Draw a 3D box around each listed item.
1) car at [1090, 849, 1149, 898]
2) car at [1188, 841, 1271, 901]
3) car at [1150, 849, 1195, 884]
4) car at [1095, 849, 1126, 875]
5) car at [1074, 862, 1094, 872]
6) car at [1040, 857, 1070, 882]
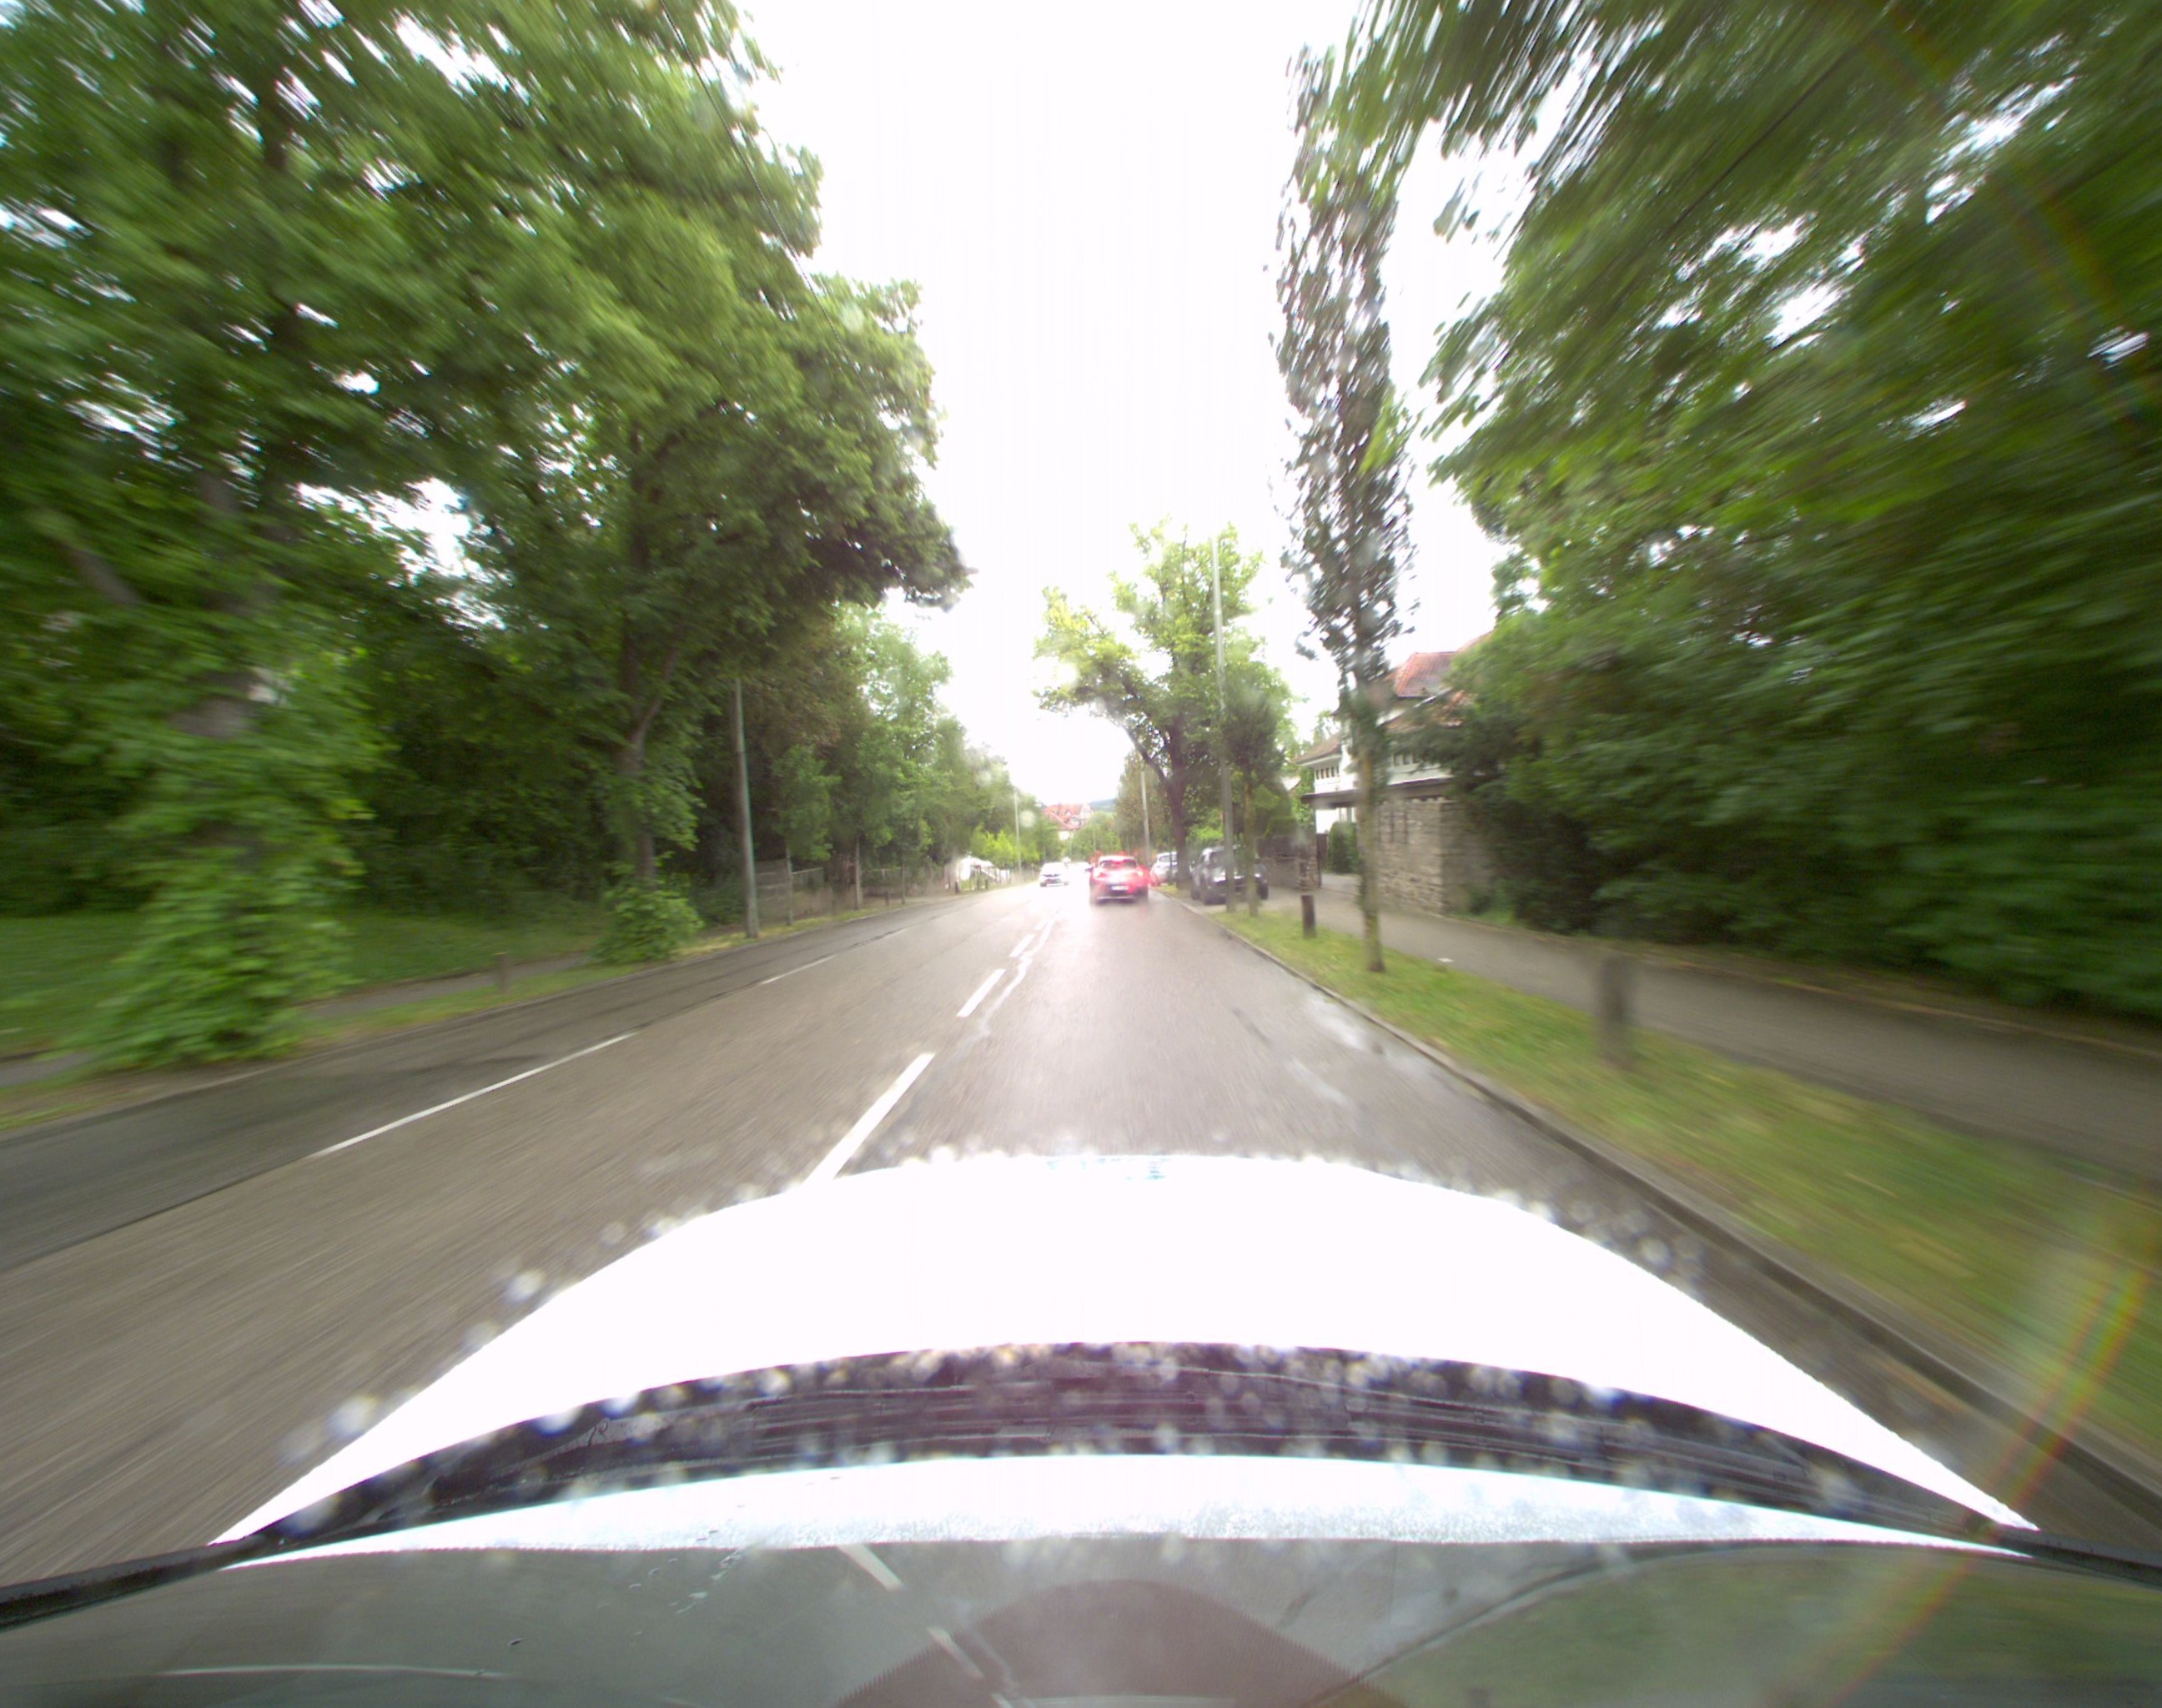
[{"bbox_3d":[1.223,0.634,26.525,1.748,1.464,4.001,-1,-2,2],"label":"car"},{"bbox_3d":[4.171,0.432,23.448,1.715,1.464,4.002,-4,0,2],"label":"car"},{"bbox_3d":[4.270,0.543,38.613,1.715,1.464,4.002,-4,0,2],"label":"car"},{"bbox_3d":[1.788,0.527,49.491,1.748,1.464,4.001,-1,-2,2],"label":"car"},{"bbox_3d":[0.445,2.056,129.476,1.728,1.464,3.970,0,-1,-22],"label":"car"},{"bbox_3d":[-1.665,0.980,52.898,1.715,1.464,4.002,0,1,1],"label":"car"}]
